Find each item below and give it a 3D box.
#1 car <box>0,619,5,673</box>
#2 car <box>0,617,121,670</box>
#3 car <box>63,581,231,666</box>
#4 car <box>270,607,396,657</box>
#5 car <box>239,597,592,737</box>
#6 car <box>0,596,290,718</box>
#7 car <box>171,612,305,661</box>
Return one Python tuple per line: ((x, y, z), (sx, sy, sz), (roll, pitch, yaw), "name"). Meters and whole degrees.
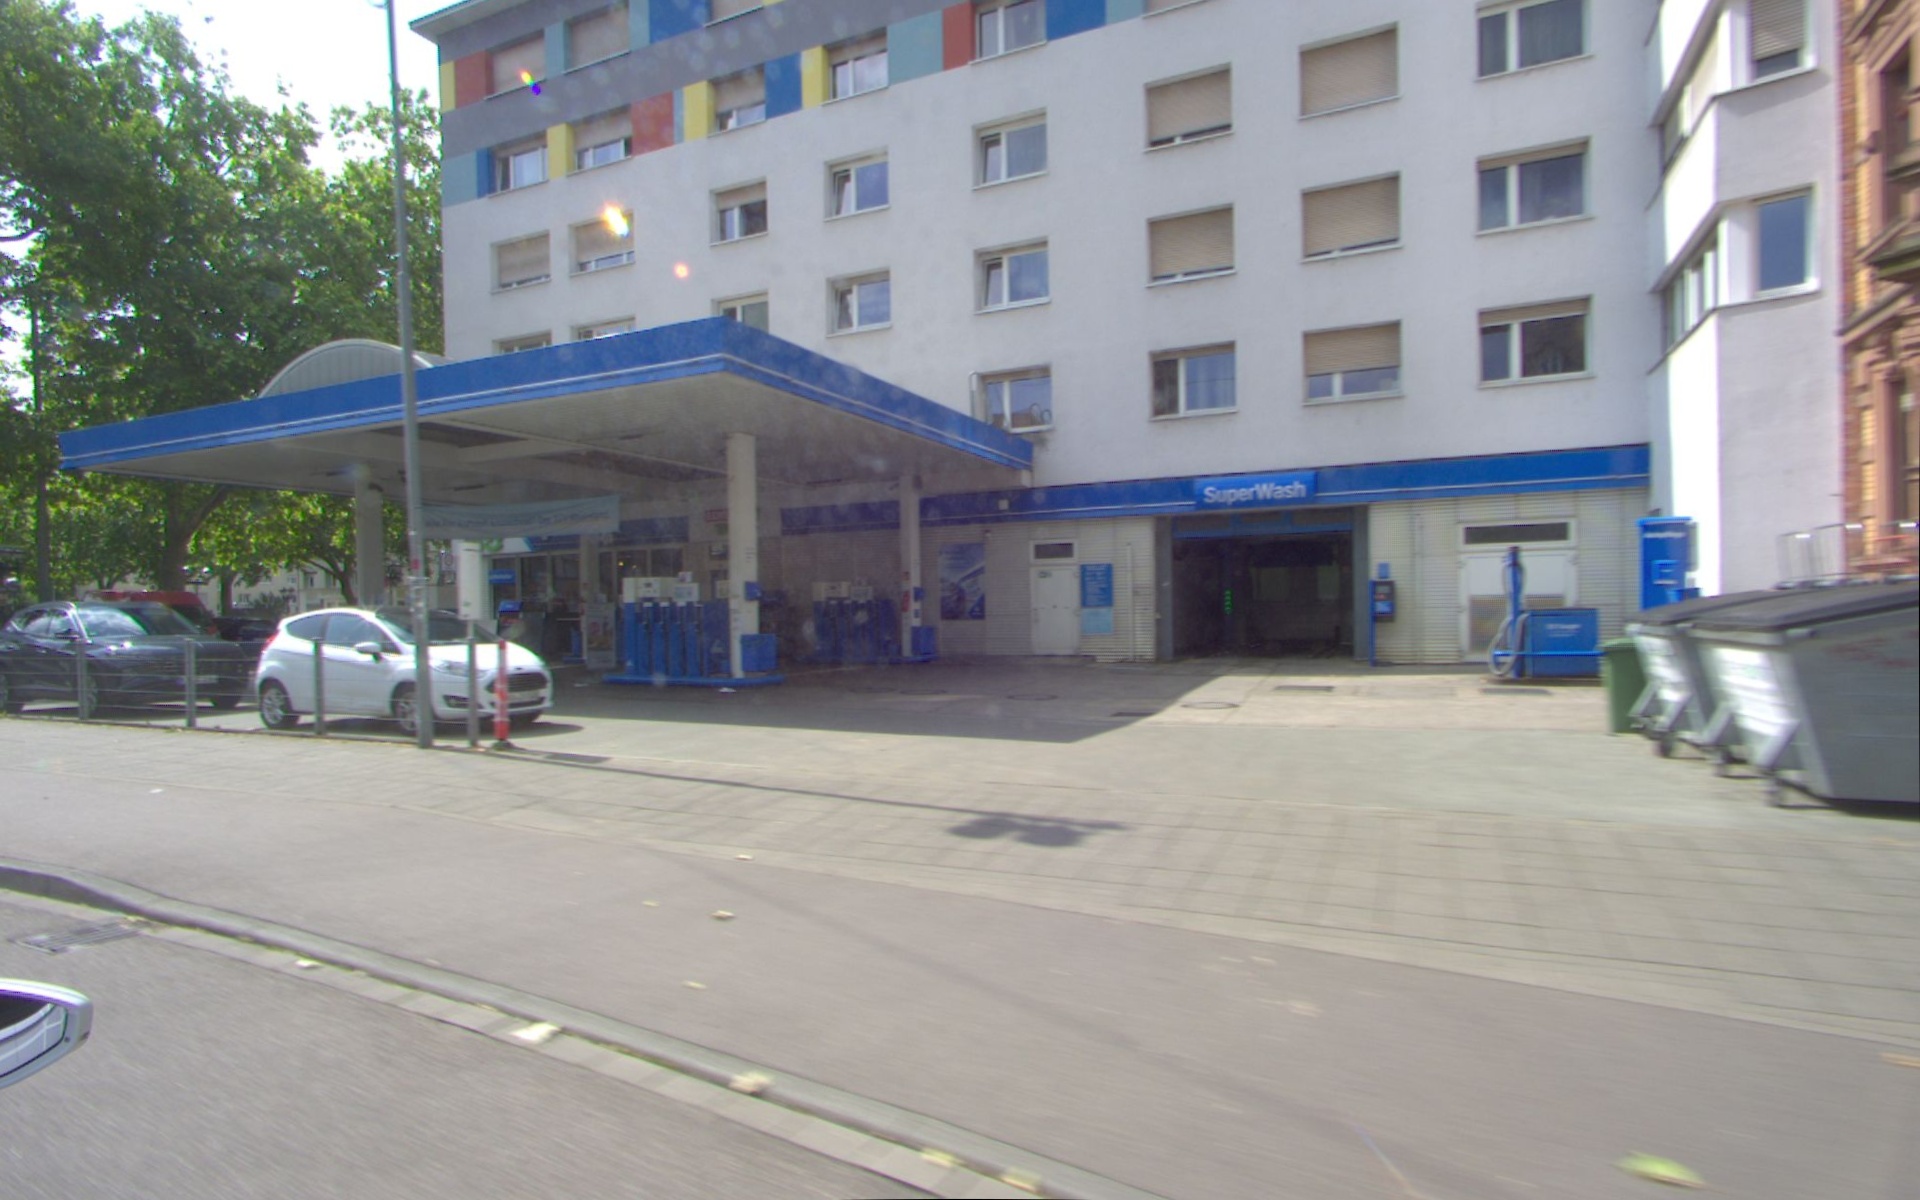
((-28.677, 1.298, 27.892), (3.976, 1.489, 1.649), (-1, 0, 25), "car")
((-27.451, 1.308, 30.166), (3.974, 1.489, 1.650), (-1, 0, 22), "car")
((-26.868, 0.765, 33.039), (5.925, 2.616, 2.110), (-1, 0, 27), "car")
((-23.781, 1.206, 37.965), (4.579, 1.777, 2.006), (-1, -1, 27), "car")
((-6.627, 0.747, 12.176), (3.936, 1.474, 1.806), (-1, -1, 25), "car")
((-12.405, 0.802, 15.128), (4.510, 1.623, 1.805), (-1, -1, 27), "car")
((-25.646, 1.280, 35.562), (4.579, 1.672, 2.006), (-1, -1, 27), "car")
